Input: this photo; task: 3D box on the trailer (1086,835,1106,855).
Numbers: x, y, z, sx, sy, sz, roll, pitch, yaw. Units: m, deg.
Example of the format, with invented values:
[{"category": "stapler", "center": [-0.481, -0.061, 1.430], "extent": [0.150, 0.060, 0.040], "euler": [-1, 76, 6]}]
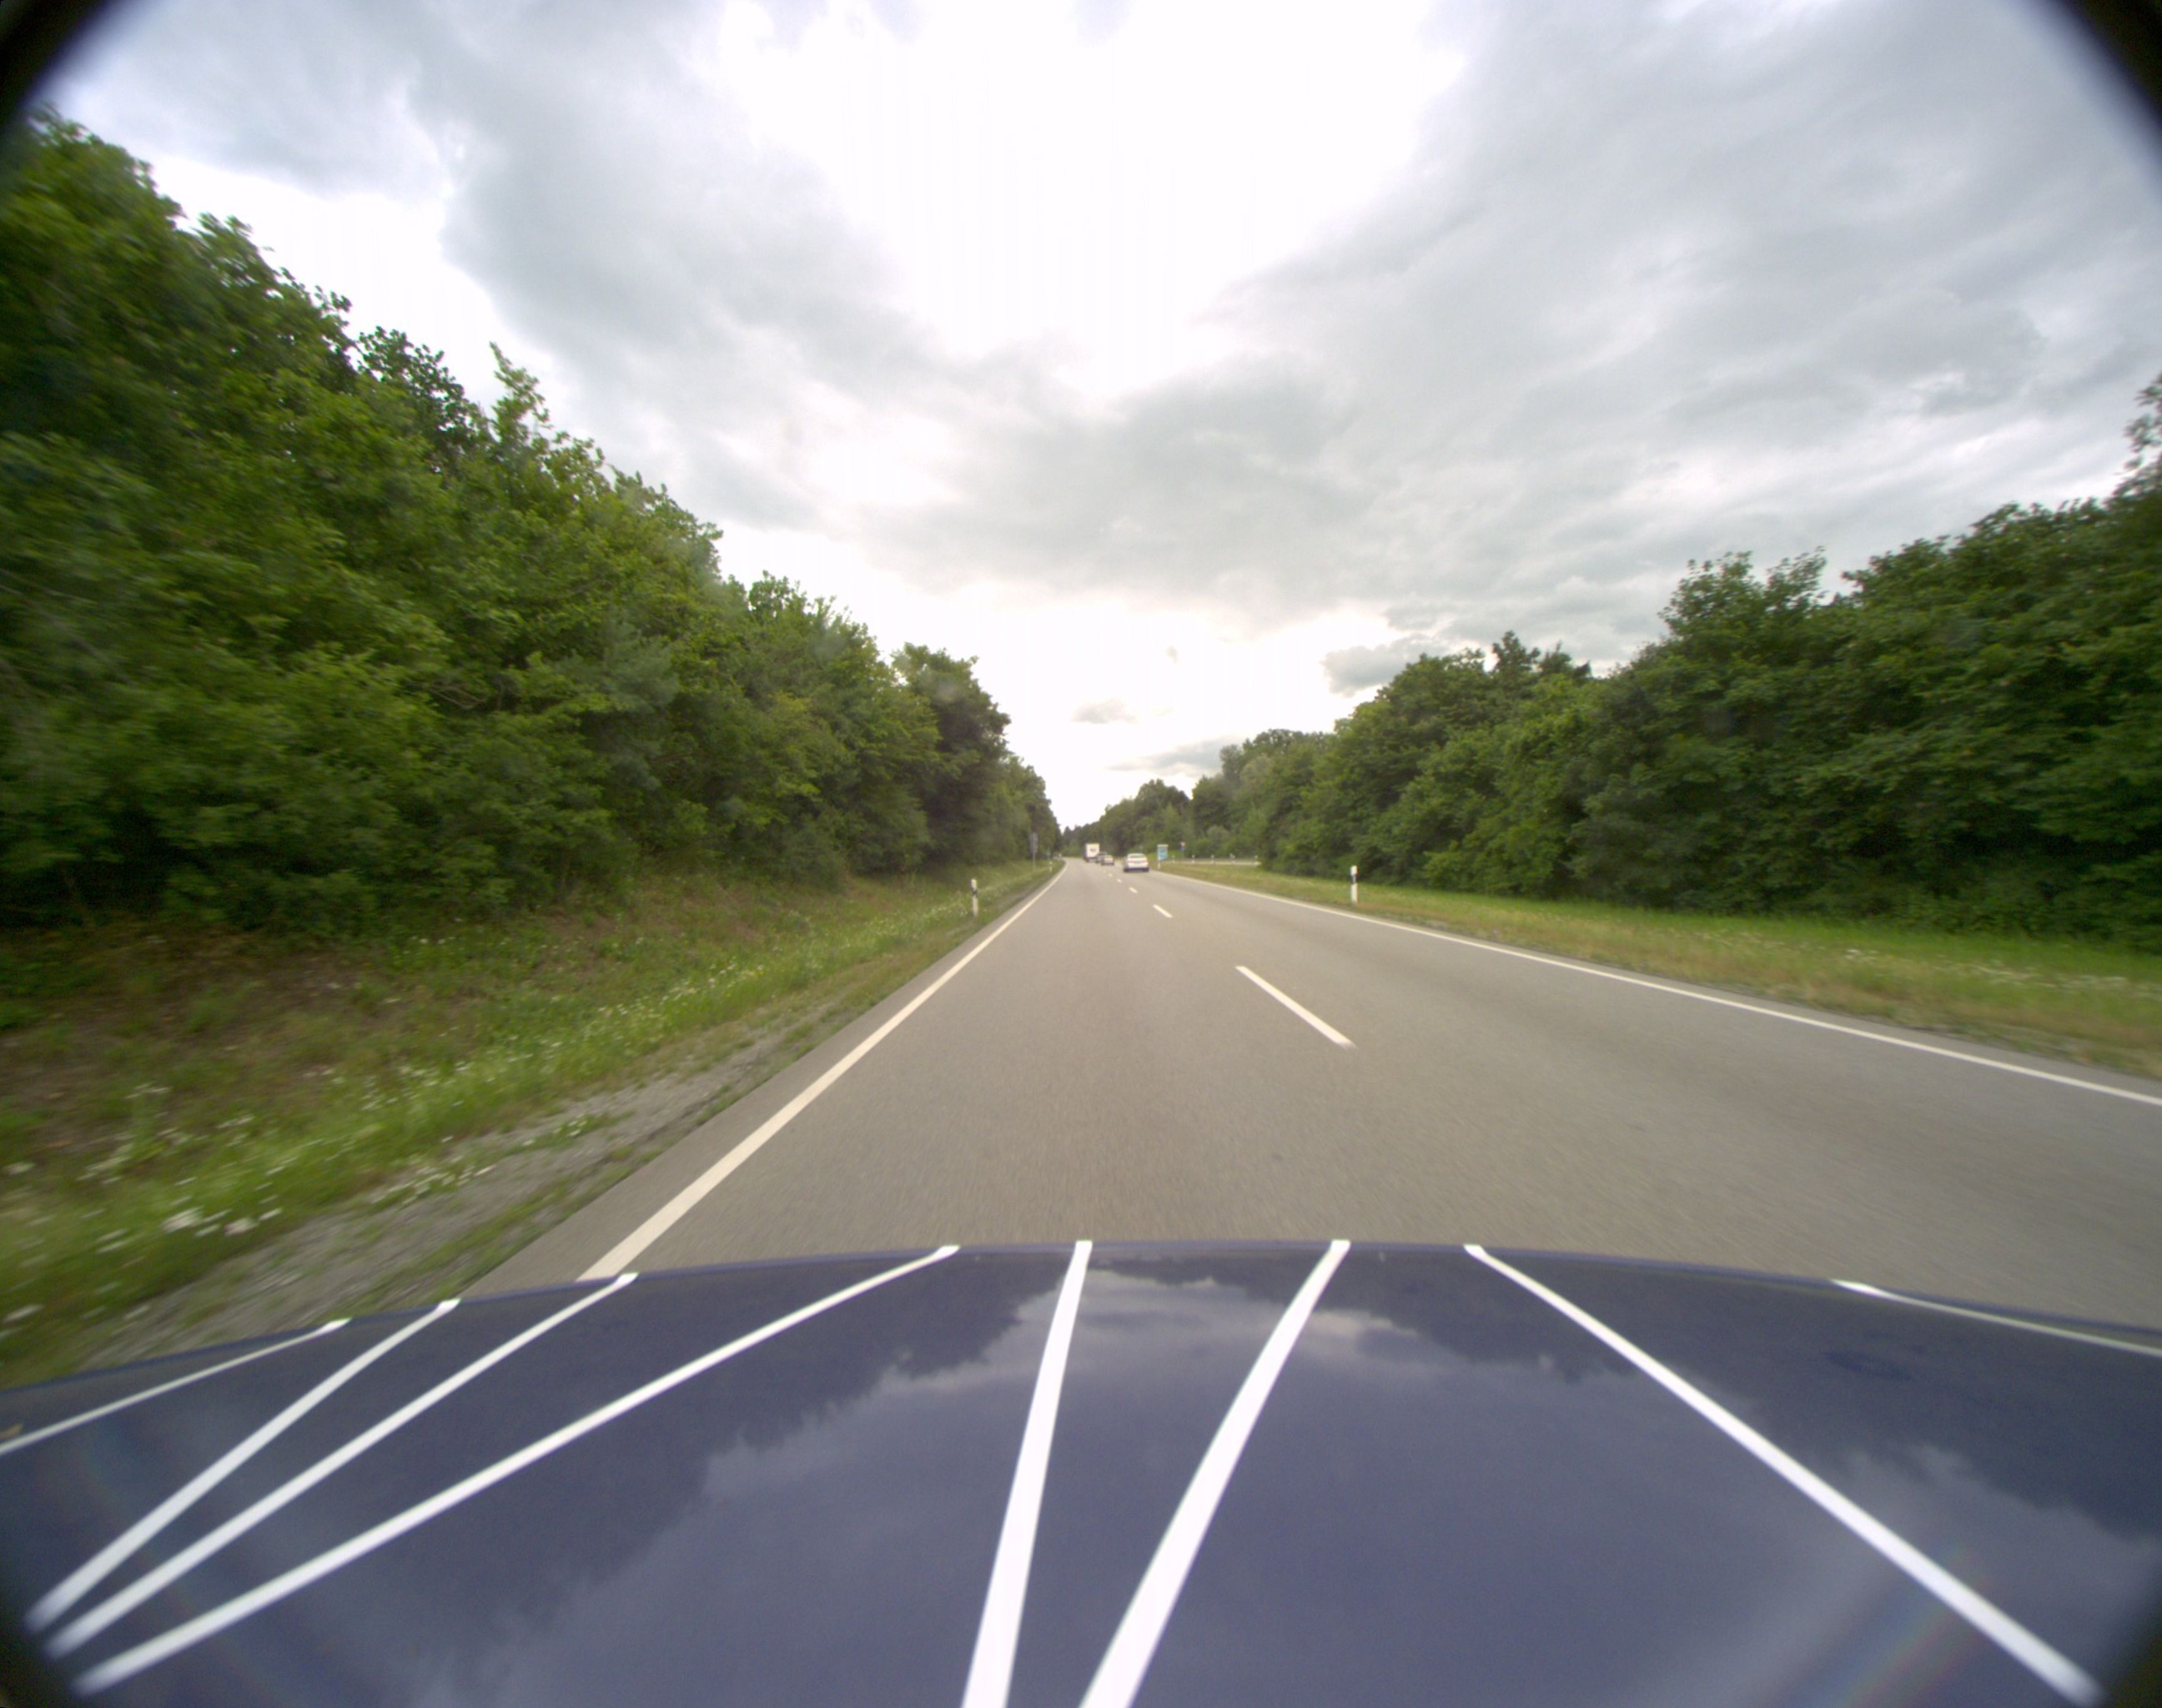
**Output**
[{"category": "trailer", "center": [3.109, -1.877, 162.844], "extent": [3.212, 4.043, 14.266], "euler": [-2, 1, -3]}]

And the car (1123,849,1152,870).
[{"category": "car", "center": [4.655, 0.446, 63.693], "extent": [1.969, 1.565, 5.451], "euler": [-2, 1, 0]}]

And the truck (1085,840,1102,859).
[{"category": "truck", "center": [2.723, -0.944, 170.192], "extent": [3.198, 4.039, 9.572], "euler": [-2, 1, -2]}]

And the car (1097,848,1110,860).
[{"category": "car", "center": [3.971, 0.033, 134.060], "extent": [1.999, 1.929, 5.810], "euler": [-2, 1, 0]}]

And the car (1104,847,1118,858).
[{"category": "car", "center": [4.202, -0.242, 108.502], "extent": [1.730, 1.426, 4.502], "euler": [-2, 1, 0]}]
